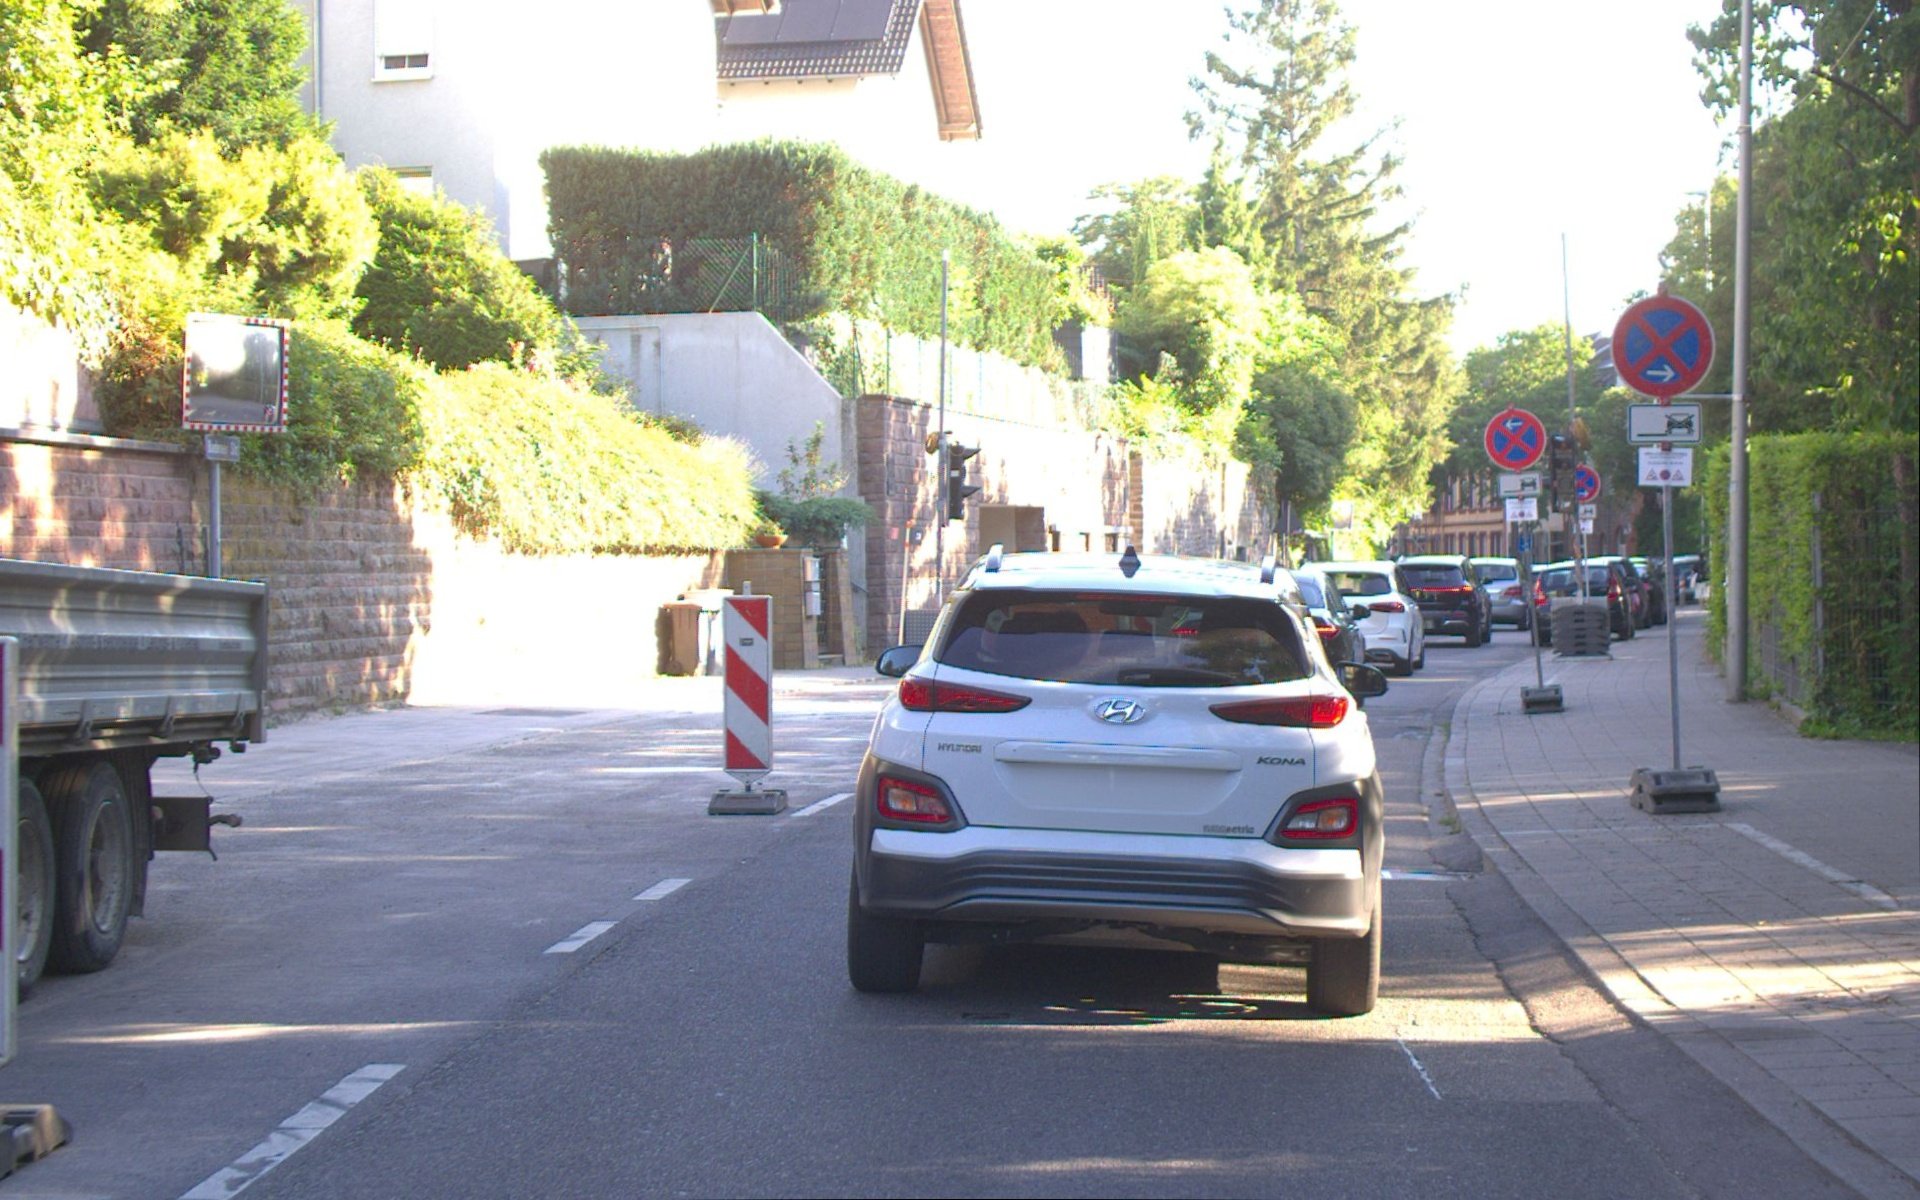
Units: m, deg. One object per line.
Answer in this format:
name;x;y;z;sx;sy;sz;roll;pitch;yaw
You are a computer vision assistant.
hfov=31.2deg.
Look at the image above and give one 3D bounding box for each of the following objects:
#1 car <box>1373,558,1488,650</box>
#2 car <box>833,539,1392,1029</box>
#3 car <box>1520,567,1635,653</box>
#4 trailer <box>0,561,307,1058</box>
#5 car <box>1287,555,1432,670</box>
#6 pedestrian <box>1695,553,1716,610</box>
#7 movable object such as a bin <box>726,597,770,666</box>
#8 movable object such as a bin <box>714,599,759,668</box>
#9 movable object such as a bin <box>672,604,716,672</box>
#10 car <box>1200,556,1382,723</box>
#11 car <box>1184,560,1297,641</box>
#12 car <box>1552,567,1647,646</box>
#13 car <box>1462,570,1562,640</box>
car;8.468;0.059;61.679;1.695;1.528;3.879;2;1;13
car;0.626;0.565;13.059;1.772;1.537;4.000;1;1;4
car;11.238;0.167;62.369;1.795;1.436;3.998;2;1;13
trailer;-4.188;0.616;10.839;2.640;1.484;7.118;1;1;2
car;5.435;0.139;46.489;1.571;1.472;3.546;1;1;12
pedestrian;21.328;-0.538;98.397;0.503;1.601;0.491;-3;0;14
movable object such as a bin;-2.795;0.414;45.304;0.456;0.881;0.500;1;1;12
movable object such as a bin;-2.909;0.429;44.791;0.456;0.881;0.500;1;1;12
movable object such as a bin;-3.307;0.467;42.804;0.454;0.831;0.392;0;1;12
car;3.291;0.350;33.760;1.512;1.528;3.546;-1;1;10
car;5.164;-0.005;62.985;1.627;1.417;3.561;-1;0;12
car;13.398;0.122;71.966;1.654;1.559;2.870;2;1;16
car;12.205;0.107;75.885;1.695;1.442;3.878;2;1;16
